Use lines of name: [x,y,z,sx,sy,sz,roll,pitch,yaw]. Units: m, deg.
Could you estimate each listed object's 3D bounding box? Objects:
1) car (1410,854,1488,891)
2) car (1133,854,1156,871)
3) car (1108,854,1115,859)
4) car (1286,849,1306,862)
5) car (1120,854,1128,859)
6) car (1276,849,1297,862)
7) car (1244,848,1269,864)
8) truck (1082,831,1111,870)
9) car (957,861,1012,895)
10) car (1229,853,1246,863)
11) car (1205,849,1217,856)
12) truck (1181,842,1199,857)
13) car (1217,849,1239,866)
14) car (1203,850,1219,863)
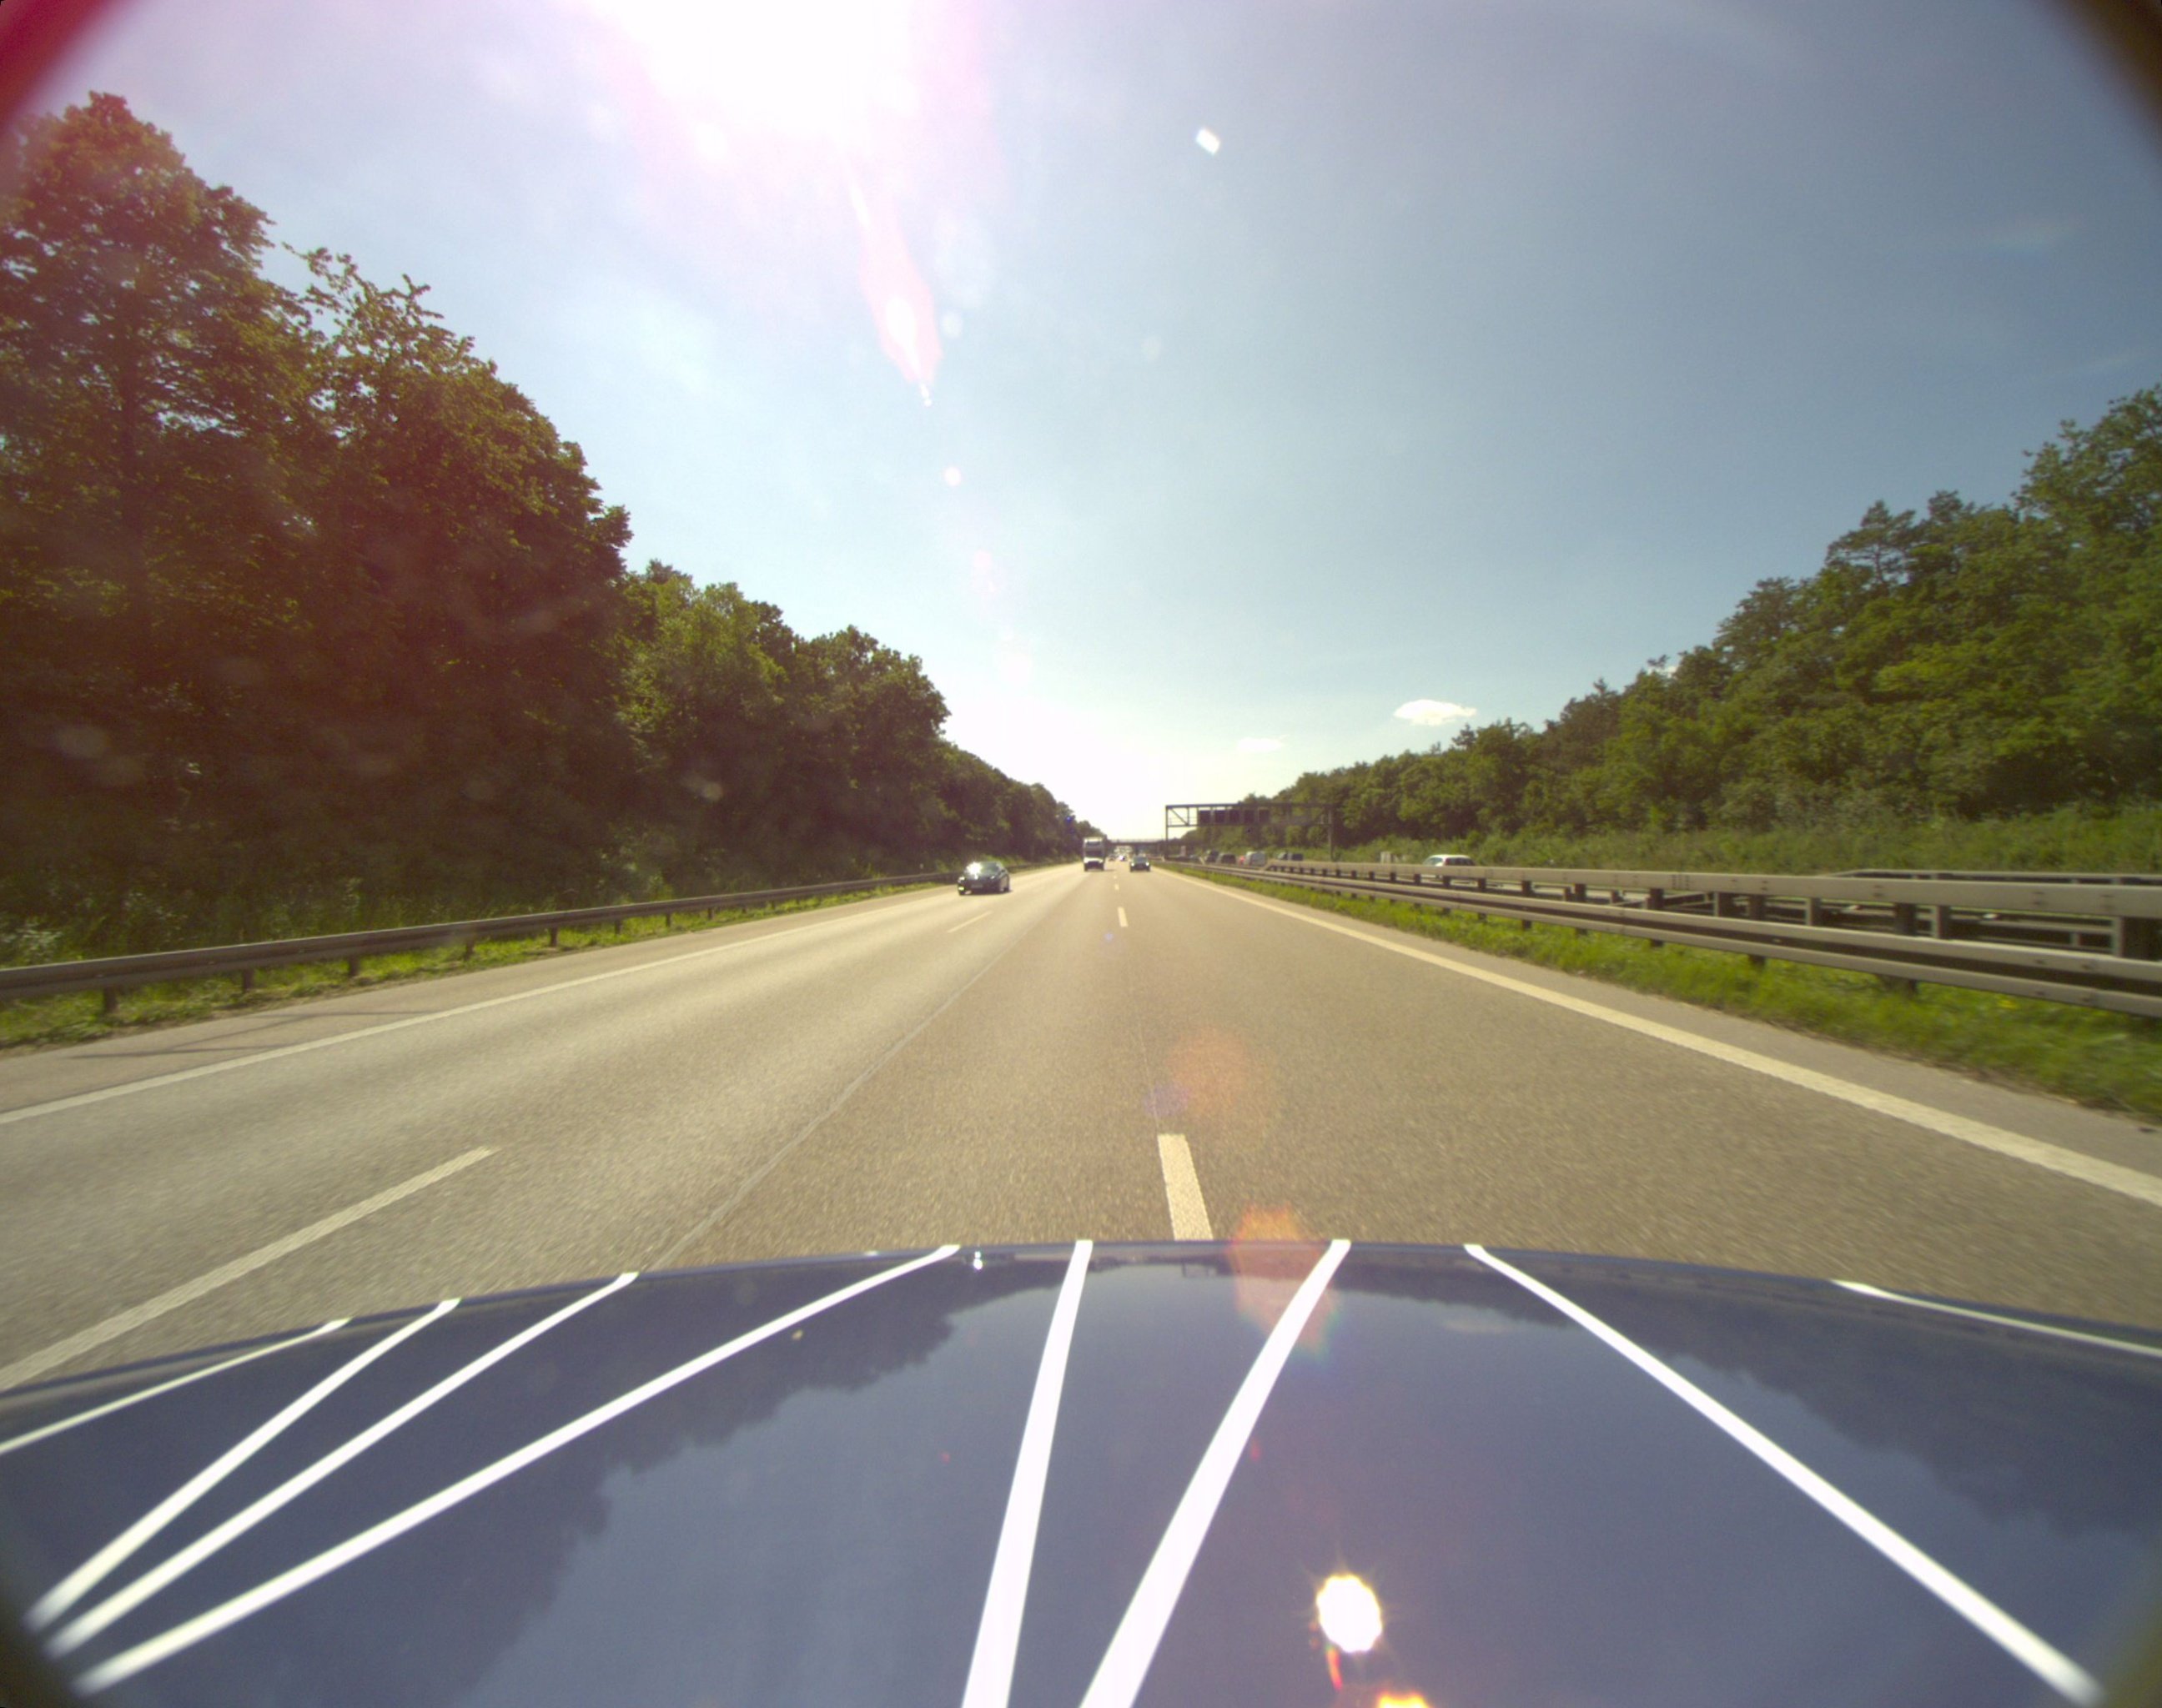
car: [15.420,0.721,32.049,1.599,1.433,3.542,1,0,1]
car: [5.672,0.720,68.413,1.814,1.483,3.729,-1,0,1]
car: [8.112,0.729,203.155,1.831,1.346,3.679,0,0,2]
car: [23.797,0.172,84.055,1.442,1.354,2.726,-1,0,1]
car: [10.740,0.633,190.614,1.831,1.346,3.679,0,0,2]
car: [23.649,0.185,87.725,1.542,1.486,3.389,-1,0,1]
car: [19.363,0.219,83.935,1.949,1.701,3.797,-1,0,1]
truck: [1.511,-0.325,76.095,2.676,3.661,6.484,-1,0,1]
car: [-4.336,1.061,34.800,1.916,1.390,4.138,-1,0,1]
car: [23.968,0.611,116.392,1.776,1.405,3.845,-1,0,1]
car: [25.730,-0.325,150.334,1.659,1.379,3.680,0,0,1]
truck: [30.157,-1.227,210.420,3.605,3.847,9.650,0,0,1]
car: [15.489,0.357,80.195,1.749,1.701,3.242,-1,0,1]
car: [19.995,0.397,116.872,1.776,1.936,3.845,-1,0,1]
